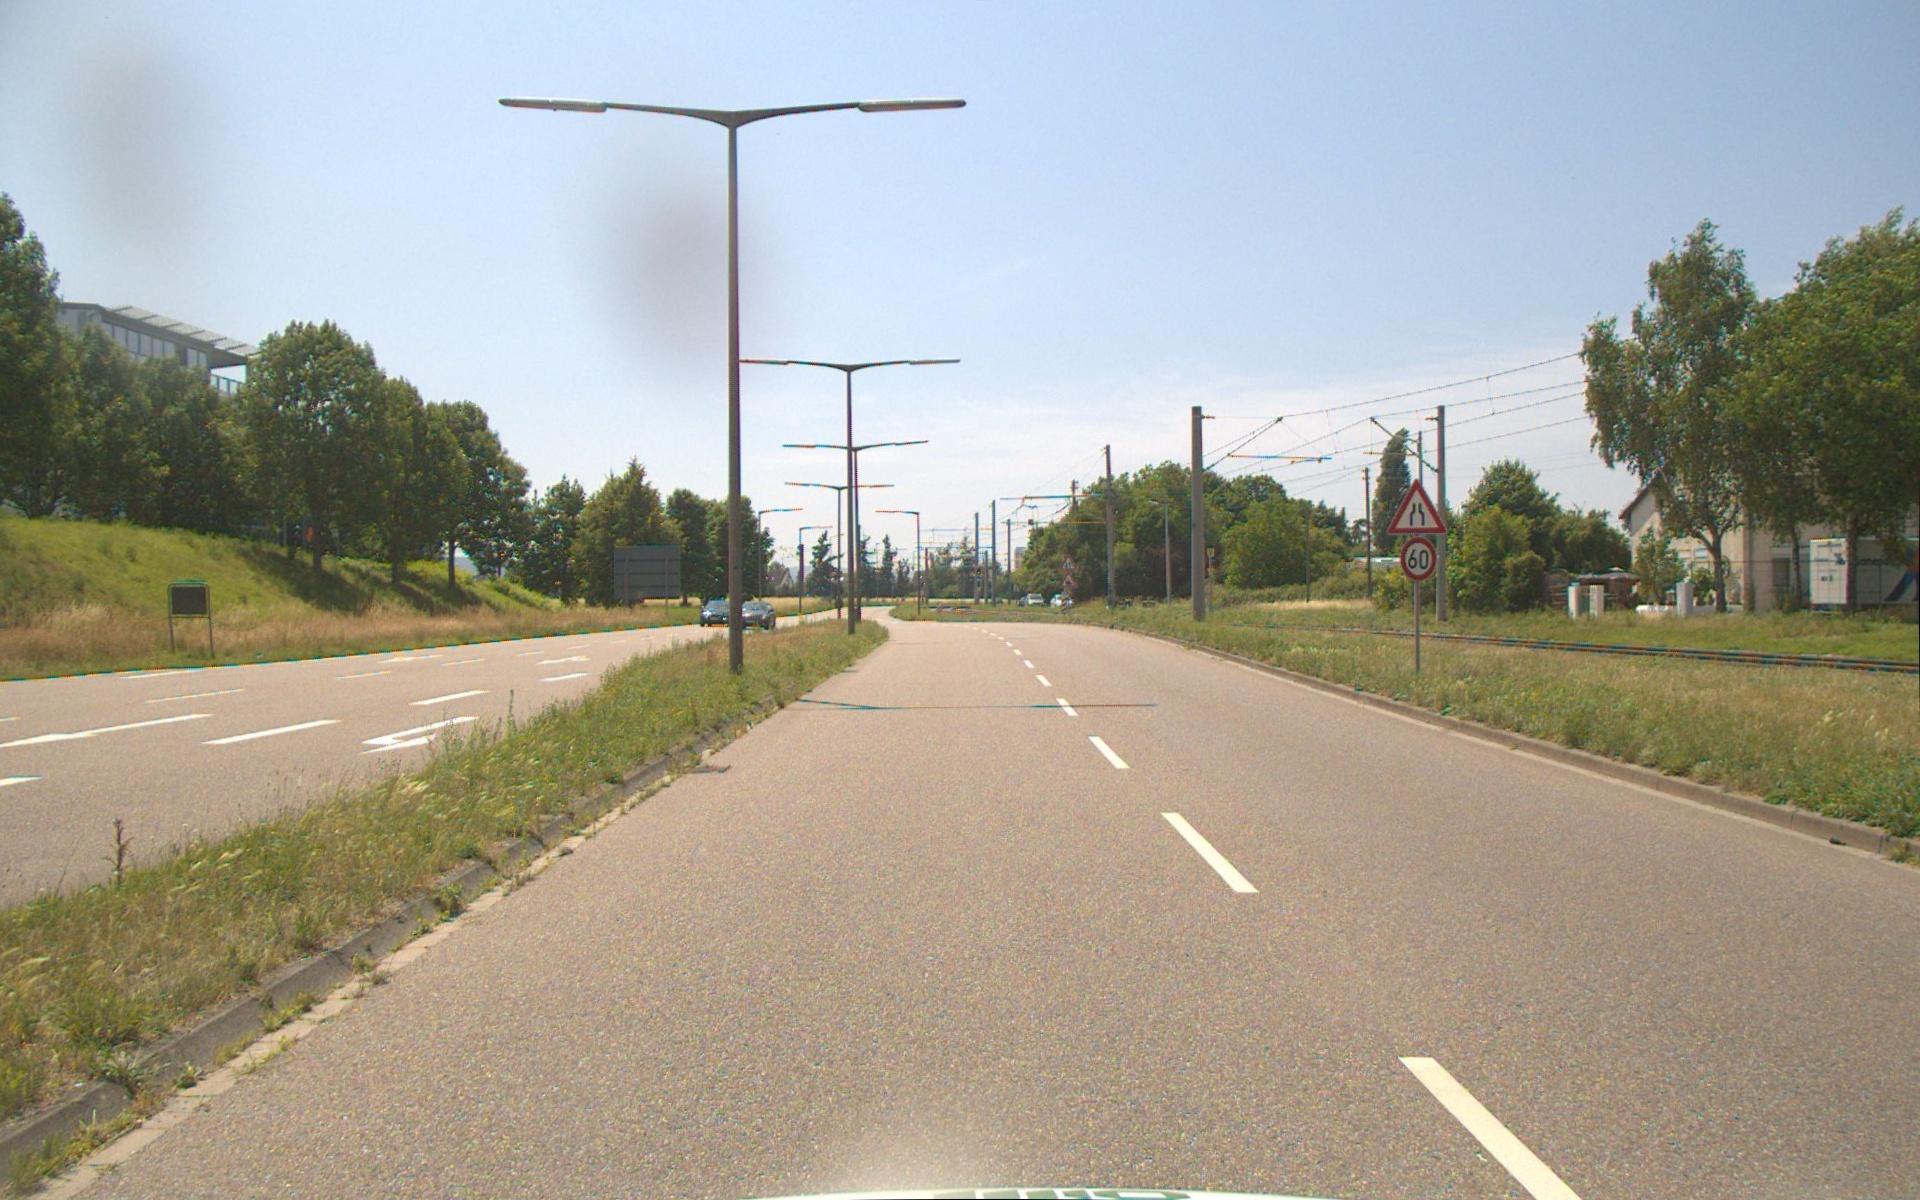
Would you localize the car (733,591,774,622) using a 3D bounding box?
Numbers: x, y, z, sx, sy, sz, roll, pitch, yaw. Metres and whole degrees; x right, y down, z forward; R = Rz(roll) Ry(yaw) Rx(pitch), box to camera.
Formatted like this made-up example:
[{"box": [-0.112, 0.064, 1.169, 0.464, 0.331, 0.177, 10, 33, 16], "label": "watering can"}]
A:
[{"box": [-10.441, 0.308, 83.780, 1.658, 1.518, 3.998, -1, 0, -2], "label": "car"}]

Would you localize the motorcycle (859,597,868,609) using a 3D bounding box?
[{"box": [-13.241, 0.391, 226.605, 0.969, 1.608, 3.401, 1, -1, 2], "label": "motorcycle"}]

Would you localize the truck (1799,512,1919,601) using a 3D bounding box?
[{"box": [32.473, -1.535, 57.350, 5.733, 2.893, 2.315, -2, 0, -9], "label": "truck"}]

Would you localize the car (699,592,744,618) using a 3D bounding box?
[{"box": [-13.440, 0.280, 93.418, 1.953, 1.383, 4.665, -1, 0, -1], "label": "car"}]

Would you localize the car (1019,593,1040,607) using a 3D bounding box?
[{"box": [7.244, 0.027, 173.143, 1.639, 1.422, 3.645, 1, -1, -6], "label": "car"}]

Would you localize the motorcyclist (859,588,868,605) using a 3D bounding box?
[{"box": [-13.211, -0.477, 226.742, 1.205, 2.392, 1.107, 1, -1, 1], "label": "motorcyclist"}]
